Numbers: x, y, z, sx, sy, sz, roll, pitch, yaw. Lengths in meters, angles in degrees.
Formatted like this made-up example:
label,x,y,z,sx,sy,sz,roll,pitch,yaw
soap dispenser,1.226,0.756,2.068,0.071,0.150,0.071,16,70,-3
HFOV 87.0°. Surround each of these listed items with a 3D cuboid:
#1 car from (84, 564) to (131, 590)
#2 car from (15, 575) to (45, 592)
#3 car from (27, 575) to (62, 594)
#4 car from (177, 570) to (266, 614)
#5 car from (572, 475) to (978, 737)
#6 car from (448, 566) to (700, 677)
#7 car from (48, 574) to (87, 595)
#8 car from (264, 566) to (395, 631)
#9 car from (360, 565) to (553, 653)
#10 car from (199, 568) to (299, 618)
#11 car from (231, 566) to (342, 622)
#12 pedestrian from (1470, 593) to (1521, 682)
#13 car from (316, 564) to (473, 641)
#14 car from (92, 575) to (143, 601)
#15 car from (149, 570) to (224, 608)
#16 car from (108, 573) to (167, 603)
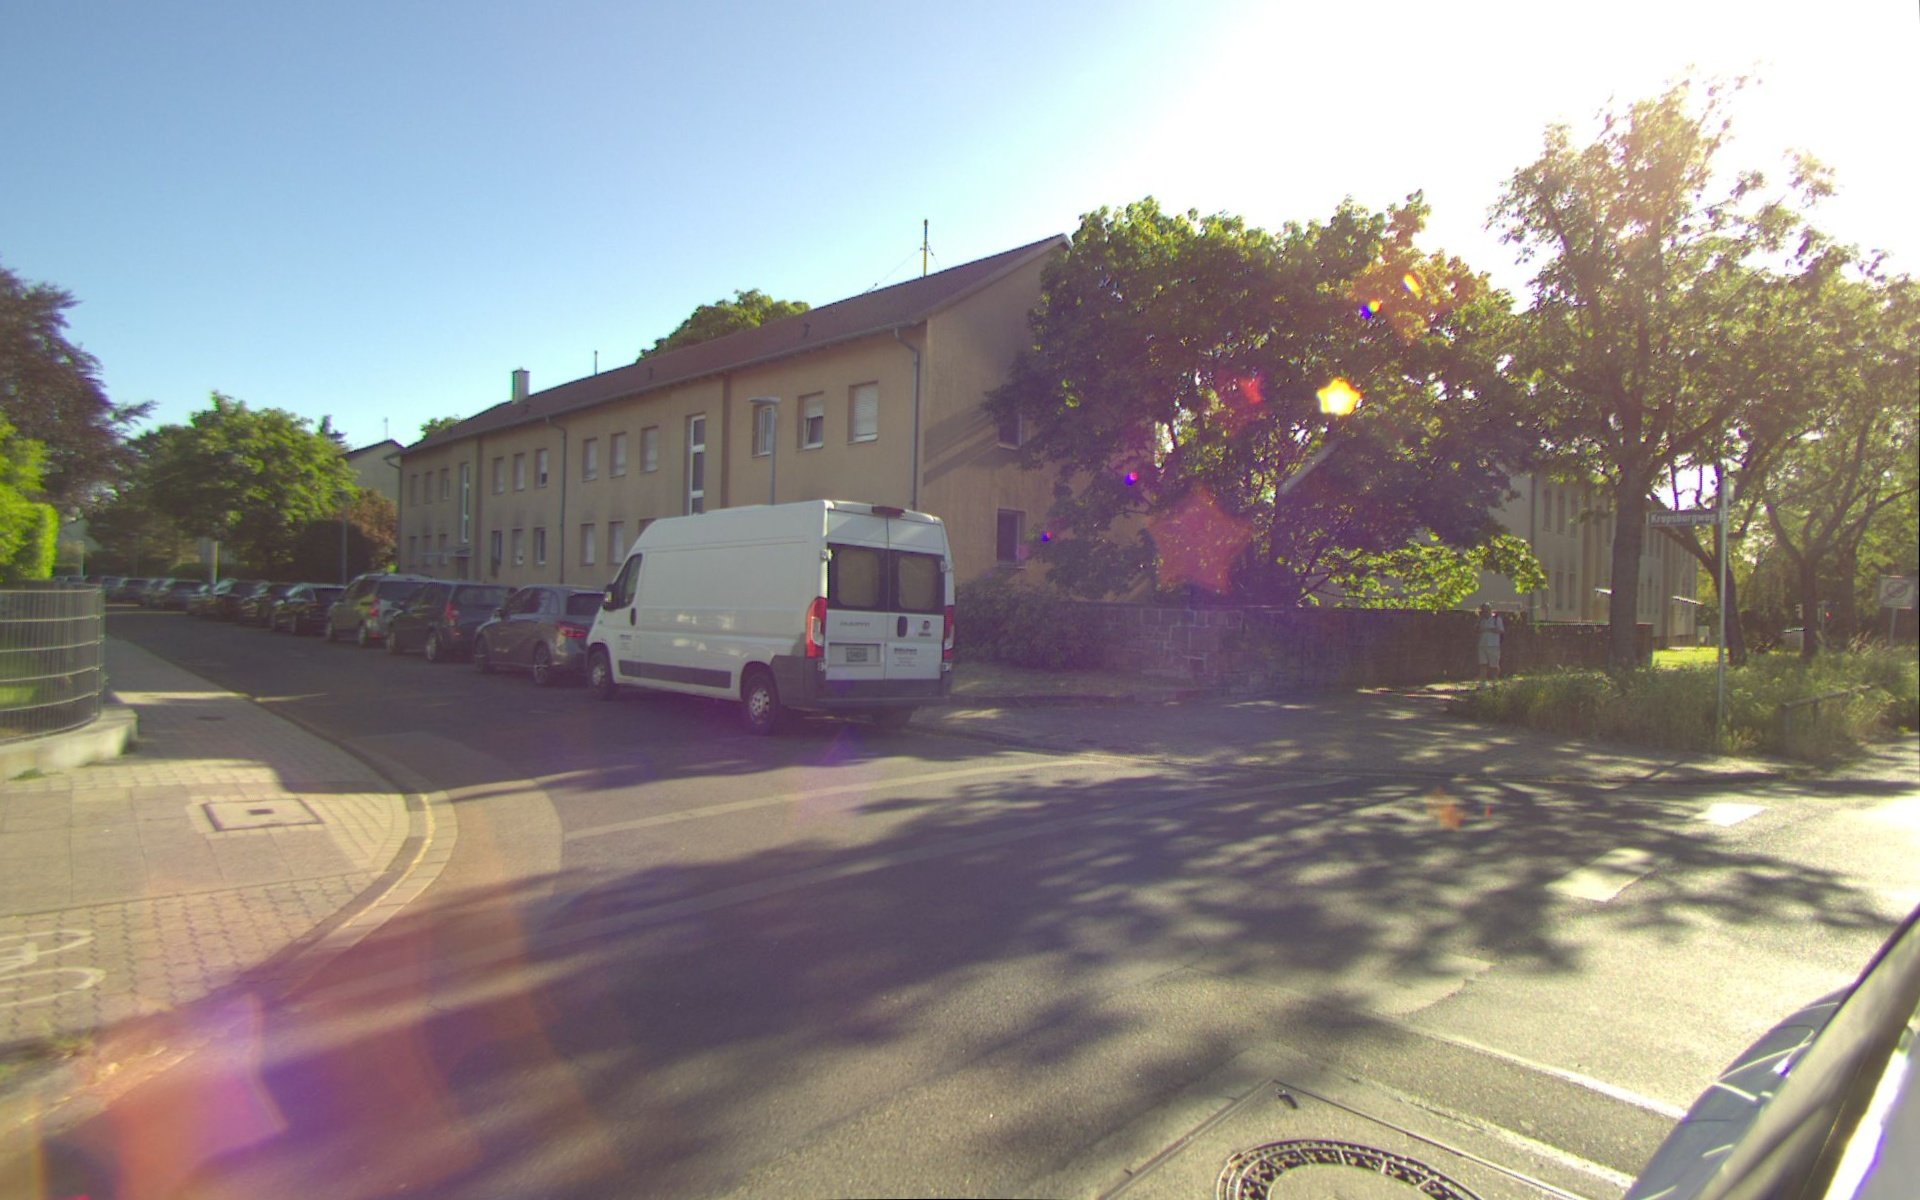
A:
label,x,y,z,sx,sy,sz,roll,pitch,yaw
car,-63.489,-1.679,75.336,2.247,1.669,4.743,3,-2,-44
car,-103.793,-1.834,112.956,2.247,1.669,4.743,3,-2,-44
car,-87.583,-1.447,96.787,2.247,1.669,4.743,3,-2,-44
car,-30.446,-0.294,41.682,2.247,1.669,4.743,3,-2,-44
car,-2.565,0.015,12.696,2.228,2.571,5.598,2,0,-44
car,-6.617,0.360,17.072,2.247,1.602,4.743,3,-2,-44
car,-77.666,-1.336,88.085,2.247,1.669,4.743,3,-2,-44
car,-18.474,-0.011,29.571,2.247,1.709,4.743,3,-2,-44
car,-10.530,0.170,21.005,2.248,1.602,4.743,0,0,-44
car,-26.447,-0.219,37.598,2.247,1.669,4.743,3,-2,-44
car,-22.770,-0.163,34.146,2.247,1.709,4.743,3,-2,-44
pedestrian,10.832,0.759,20.470,0.601,1.727,0.638,3,1,-43
car,-14.250,0.098,25.379,2.247,1.709,4.743,3,-2,-44
car,-57.703,-0.786,69.271,2.247,1.669,4.743,3,-2,-44
car,-37.244,-0.476,48.666,2.247,1.669,4.743,3,-2,-44
car,-49.412,-0.675,60.775,2.247,1.669,4.743,3,-2,-44
